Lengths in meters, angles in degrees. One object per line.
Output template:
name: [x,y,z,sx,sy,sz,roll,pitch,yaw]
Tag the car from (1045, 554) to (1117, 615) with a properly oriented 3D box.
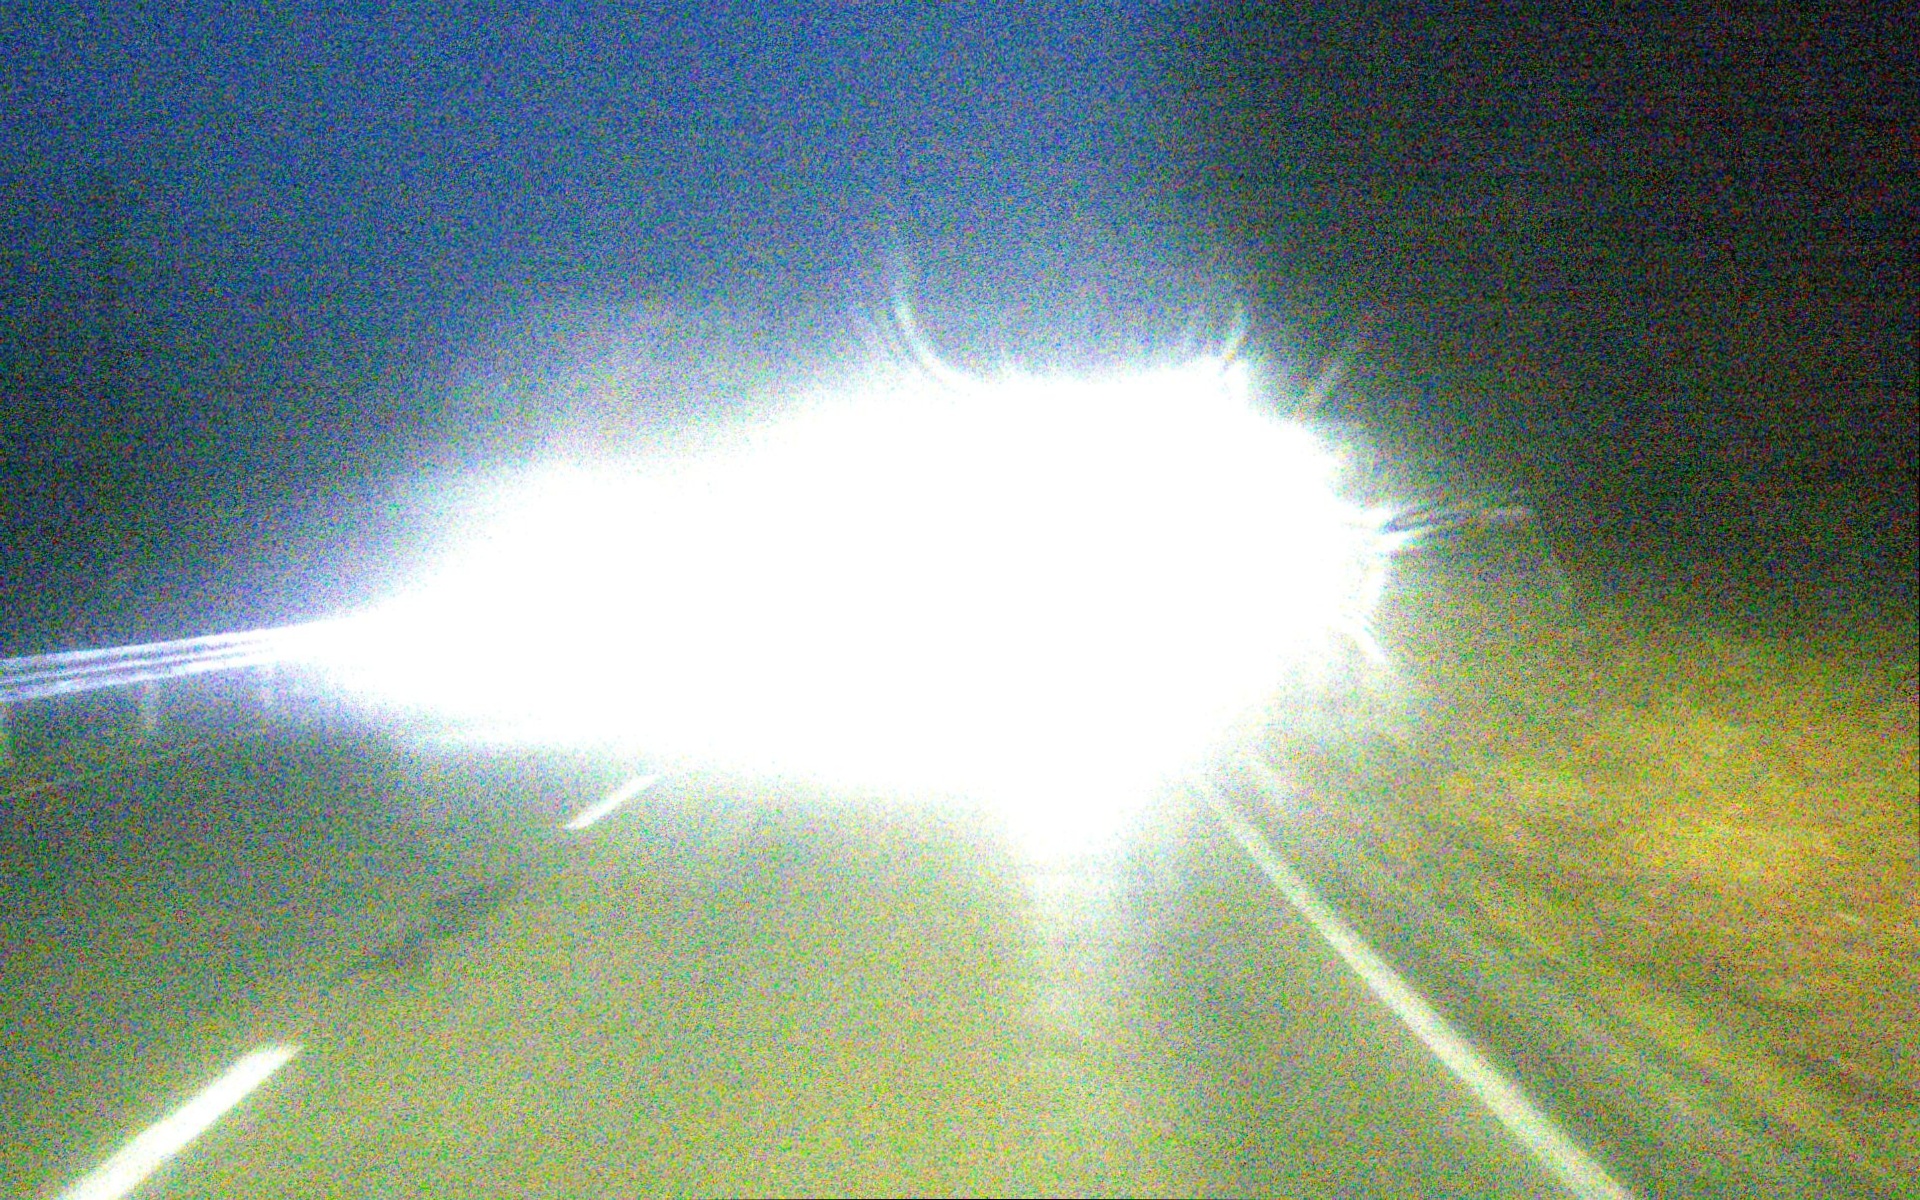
car: [3.588,-0.434,101.242,1.994,1.687,4.697,1,-1,3]
